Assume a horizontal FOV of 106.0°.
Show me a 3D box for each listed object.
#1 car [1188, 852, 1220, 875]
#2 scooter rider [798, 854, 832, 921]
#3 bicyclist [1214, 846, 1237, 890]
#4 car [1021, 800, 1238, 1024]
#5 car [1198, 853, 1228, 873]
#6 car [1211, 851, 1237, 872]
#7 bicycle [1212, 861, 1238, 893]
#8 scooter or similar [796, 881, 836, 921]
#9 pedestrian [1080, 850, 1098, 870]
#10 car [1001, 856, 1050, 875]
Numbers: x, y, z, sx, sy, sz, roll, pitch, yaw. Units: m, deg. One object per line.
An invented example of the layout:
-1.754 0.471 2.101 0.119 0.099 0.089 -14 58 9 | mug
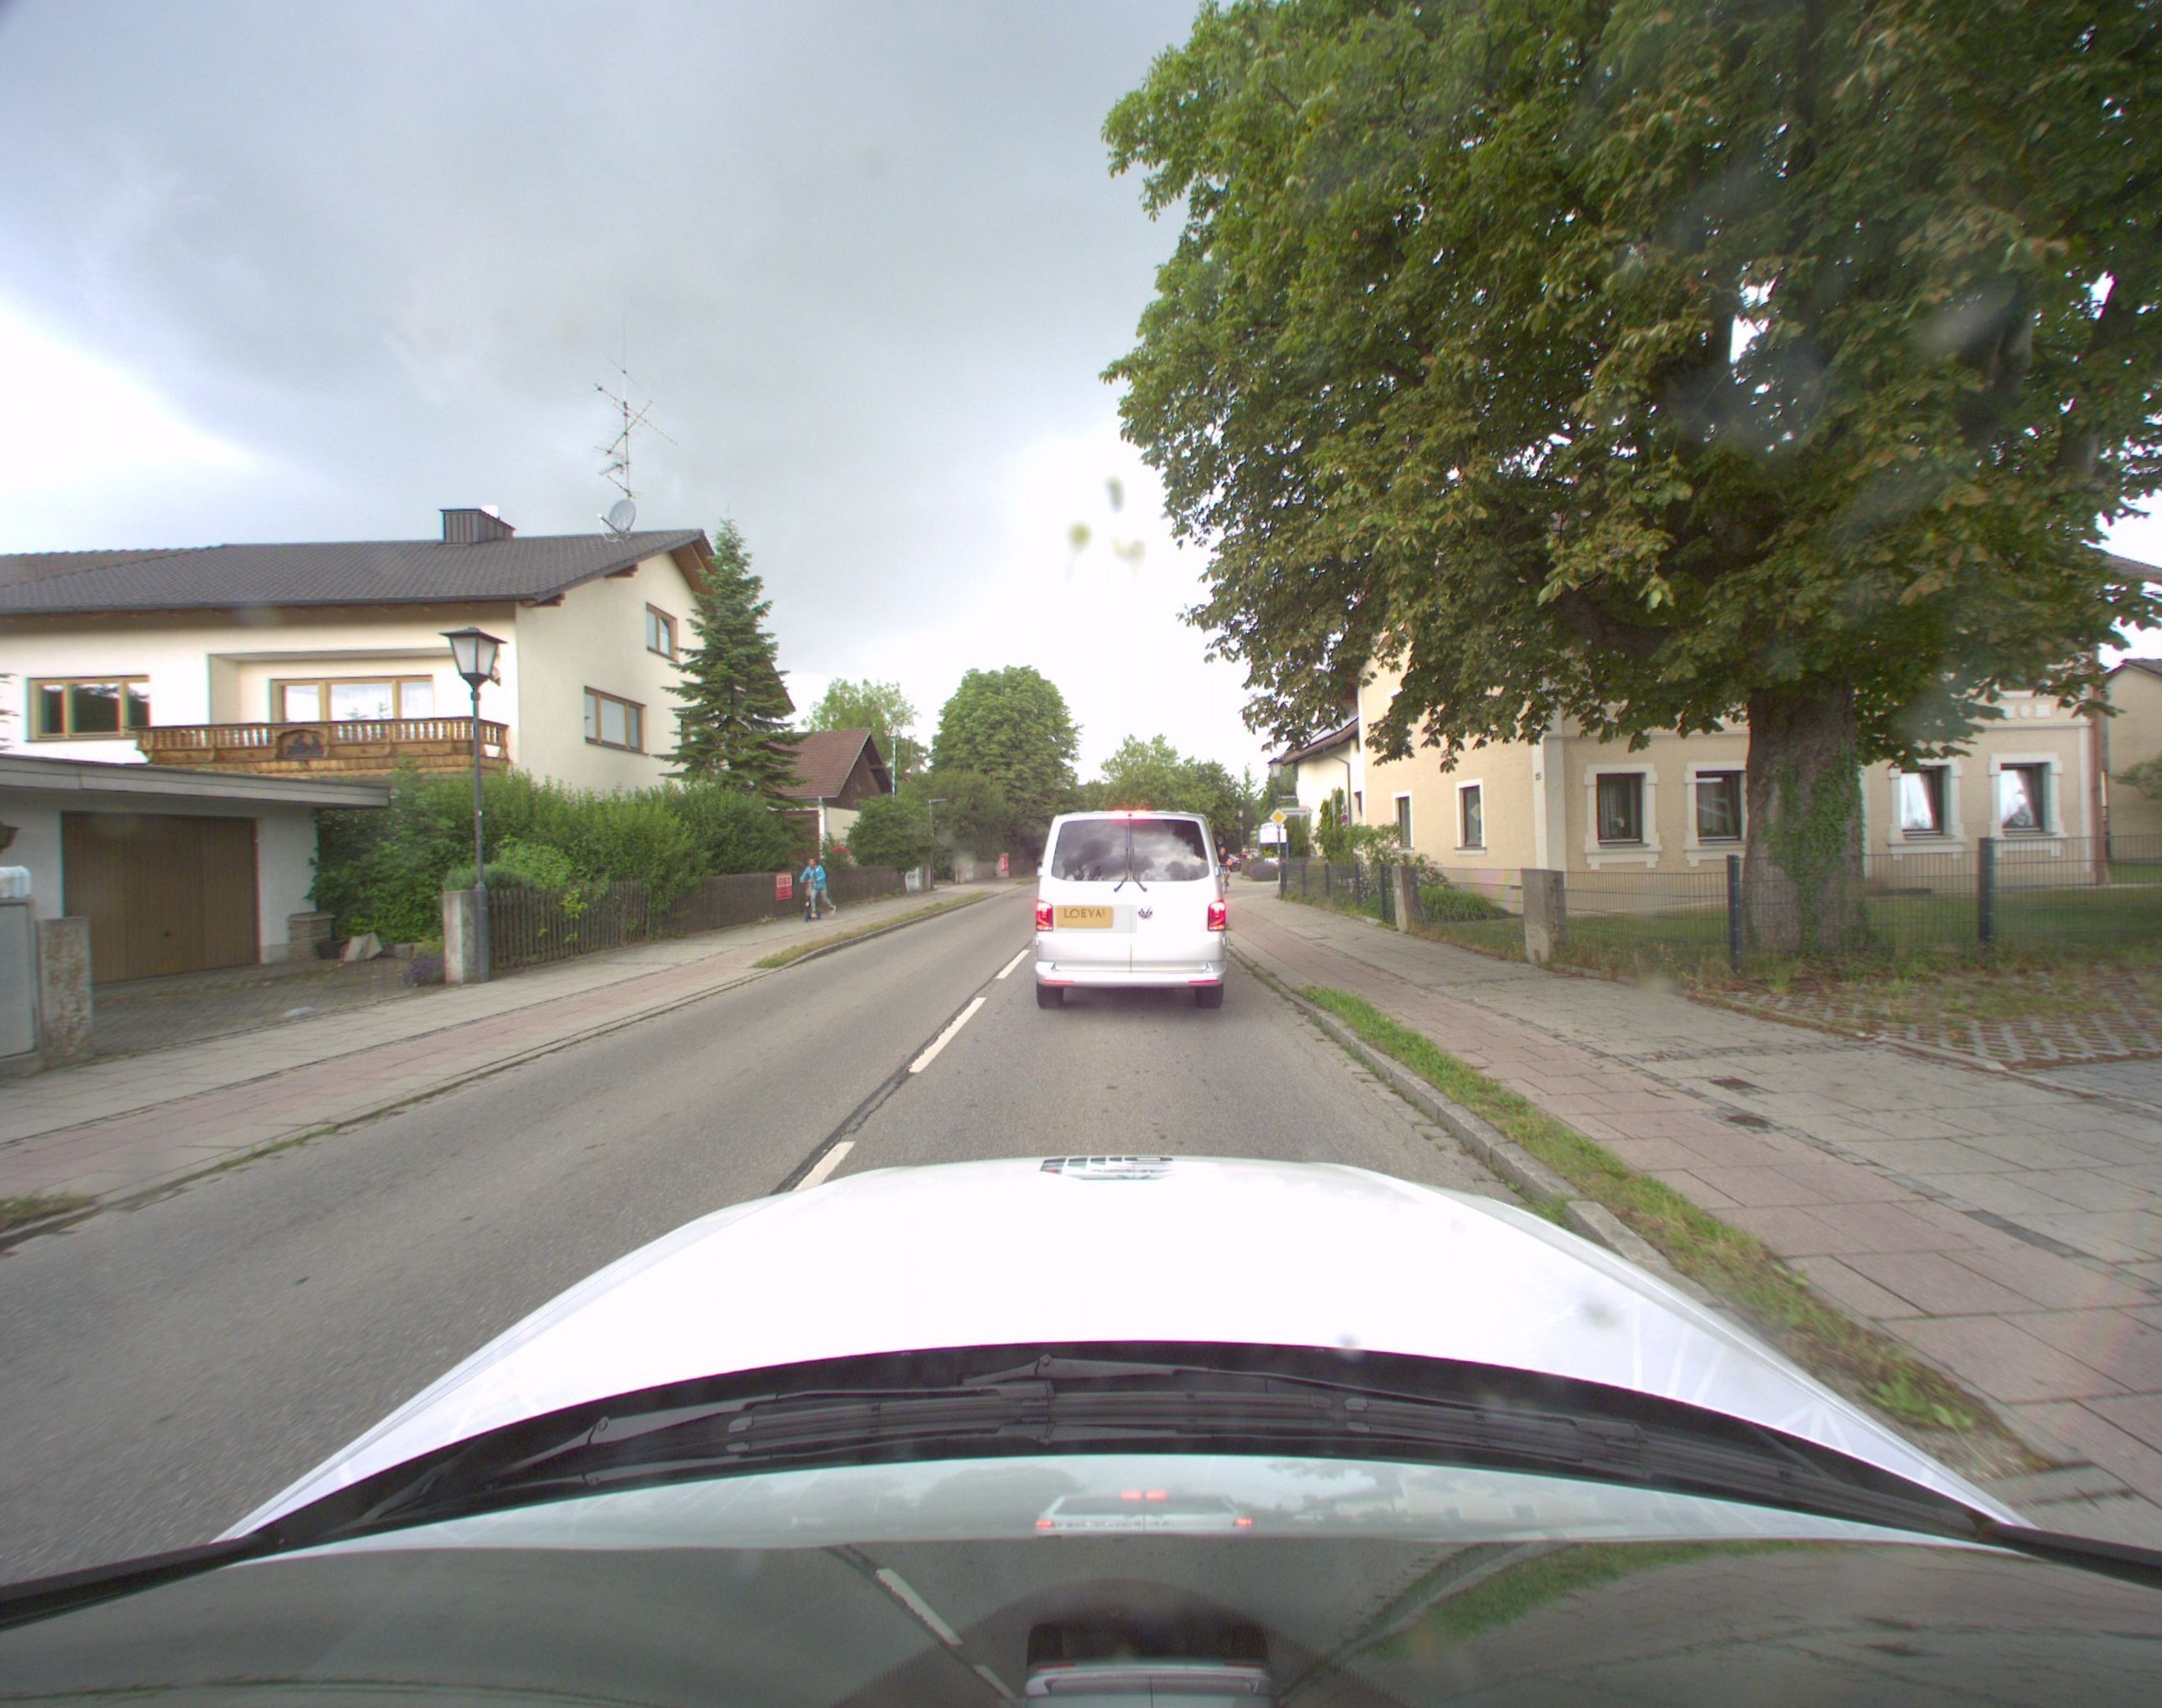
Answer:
8.907 0.677 58.728 1.868 1.535 3.936 -1 0 14 | car
-6.075 0.757 18.648 0.500 1.489 0.716 -1 0 2 | scooter rider
5.487 0.515 30.927 0.733 1.632 0.891 -1 0 3 | bicyclist
0.527 0.518 9.167 1.873 1.940 3.923 -1 0 3 | car
10.516 0.683 64.732 1.867 1.535 3.937 -1 0 16 | car
12.566 0.614 71.533 1.867 1.748 4.096 -1 0 15 | car
5.446 0.853 30.929 0.761 1.143 1.847 -1 0 4 | bicycle
-6.071 1.077 18.695 0.519 0.850 1.062 -1 0 3 | scooter or similar
0.714 0.515 75.064 1.055 1.803 1.331 -1 0 33 | pedestrian
-4.588 0.912 66.866 3.982 1.486 1.996 -1 0 -6 | car
